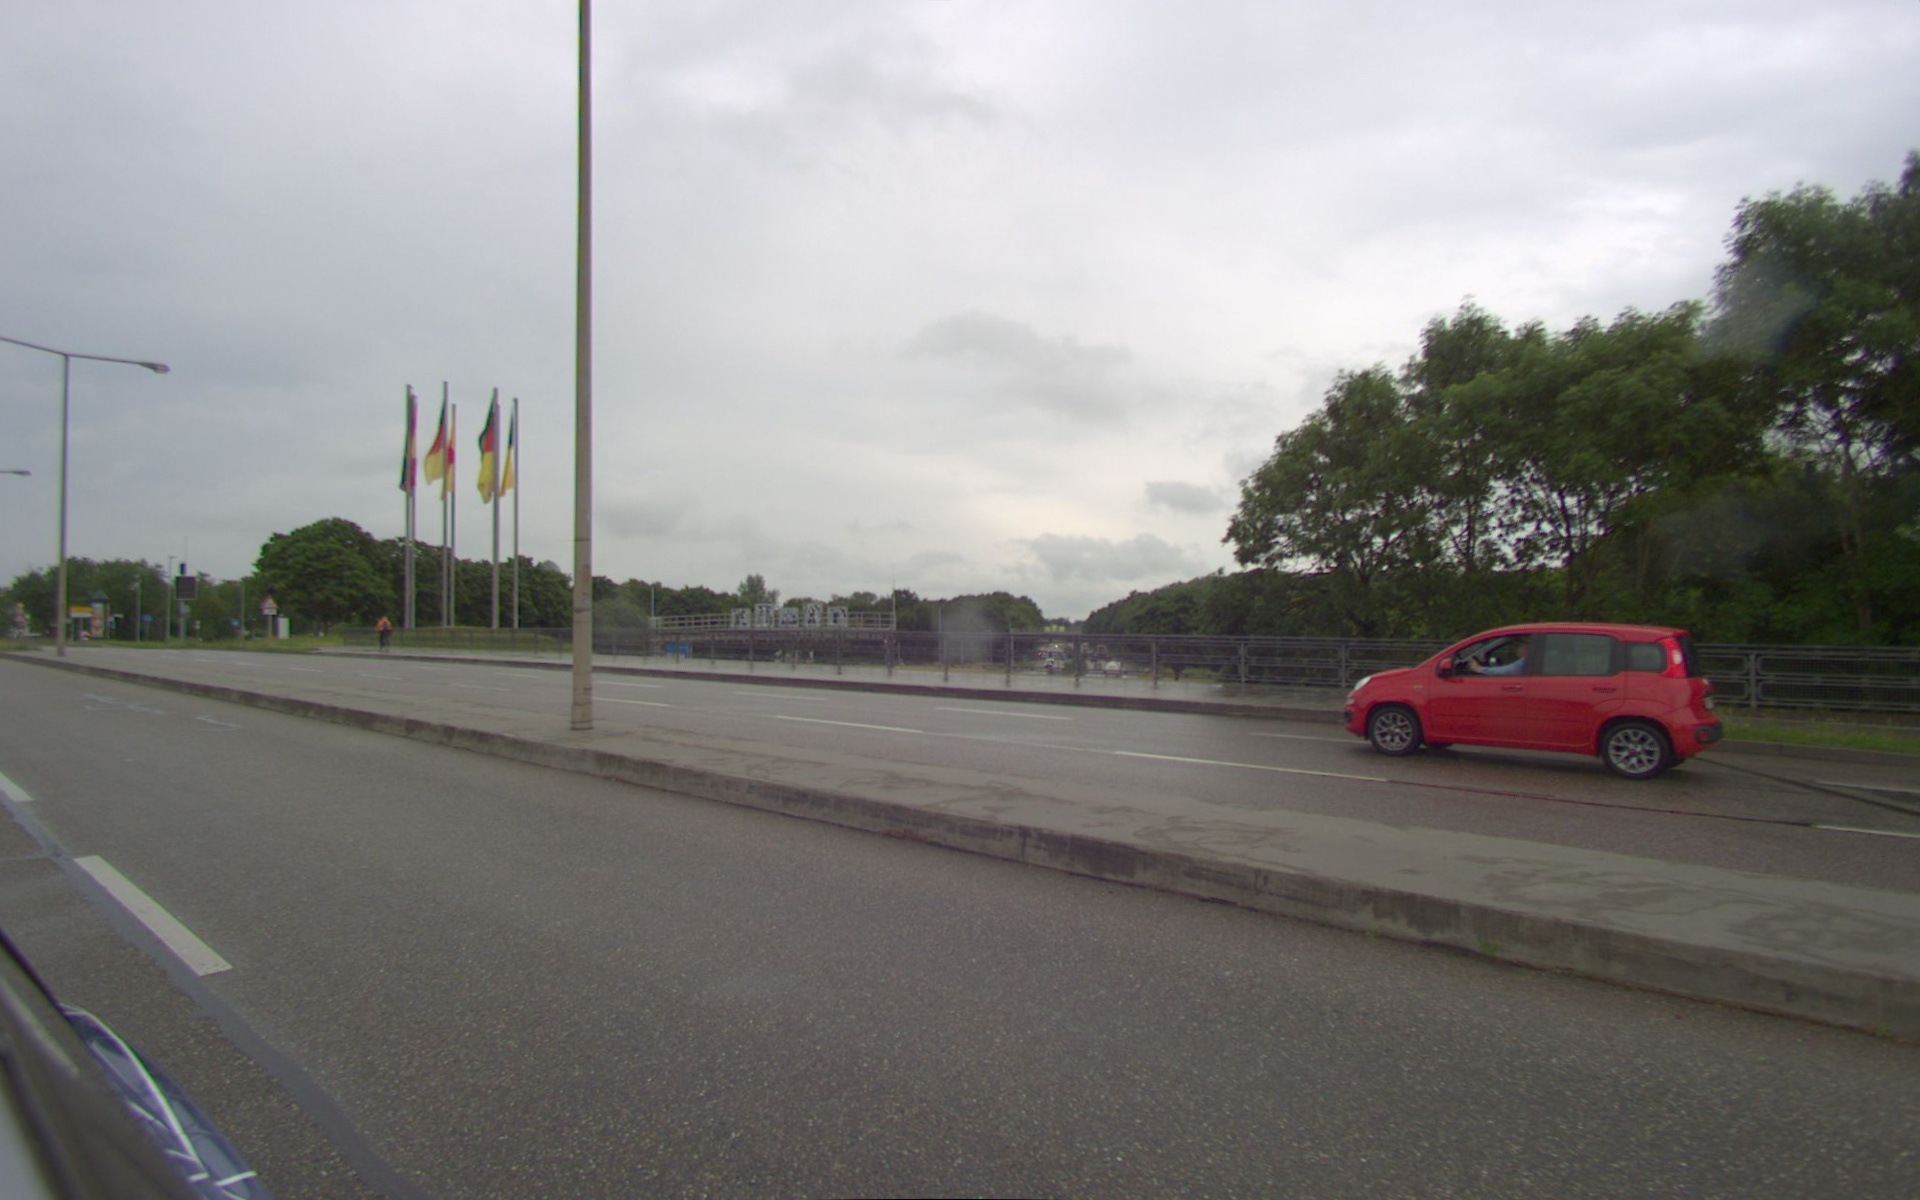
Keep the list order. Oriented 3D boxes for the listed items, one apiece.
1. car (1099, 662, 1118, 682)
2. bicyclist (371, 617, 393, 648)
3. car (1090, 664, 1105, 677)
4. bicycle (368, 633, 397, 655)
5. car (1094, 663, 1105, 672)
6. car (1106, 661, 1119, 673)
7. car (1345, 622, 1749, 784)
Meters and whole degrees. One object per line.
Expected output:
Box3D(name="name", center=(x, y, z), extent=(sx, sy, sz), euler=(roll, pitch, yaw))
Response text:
Box3D(name="car", center=(23.621, 11.403, 160.936), extent=(2.706, 2.792, 5.791), euler=(-2, -2, 10))
Box3D(name="bicyclist", center=(-28.541, 1.595, 49.968), extent=(1.002, 1.511, 0.613), euler=(-1, 0, 41))
Box3D(name="car", center=(30.241, 15.505, 222.022), extent=(2.708, 2.552, 5.788), euler=(-2, -2, 12))
Box3D(name="bicycle", center=(-28.531, 2.169, 49.968), extent=(2.000, 1.041, 0.603), euler=(-1, 0, 41))
Box3D(name="car", center=(31.359, 15.033, 226.641), extent=(1.981, 1.794, 3.981), euler=(-2, -2, 14))
Box3D(name="car", center=(38.232, 16.803, 253.462), extent=(2.708, 2.552, 5.788), euler=(-2, -2, 12))
Box3D(name="car", center=(6.241, 1.001, 10.958), extent=(3.555, 1.459, 1.643), euler=(-1, -4, 41))
